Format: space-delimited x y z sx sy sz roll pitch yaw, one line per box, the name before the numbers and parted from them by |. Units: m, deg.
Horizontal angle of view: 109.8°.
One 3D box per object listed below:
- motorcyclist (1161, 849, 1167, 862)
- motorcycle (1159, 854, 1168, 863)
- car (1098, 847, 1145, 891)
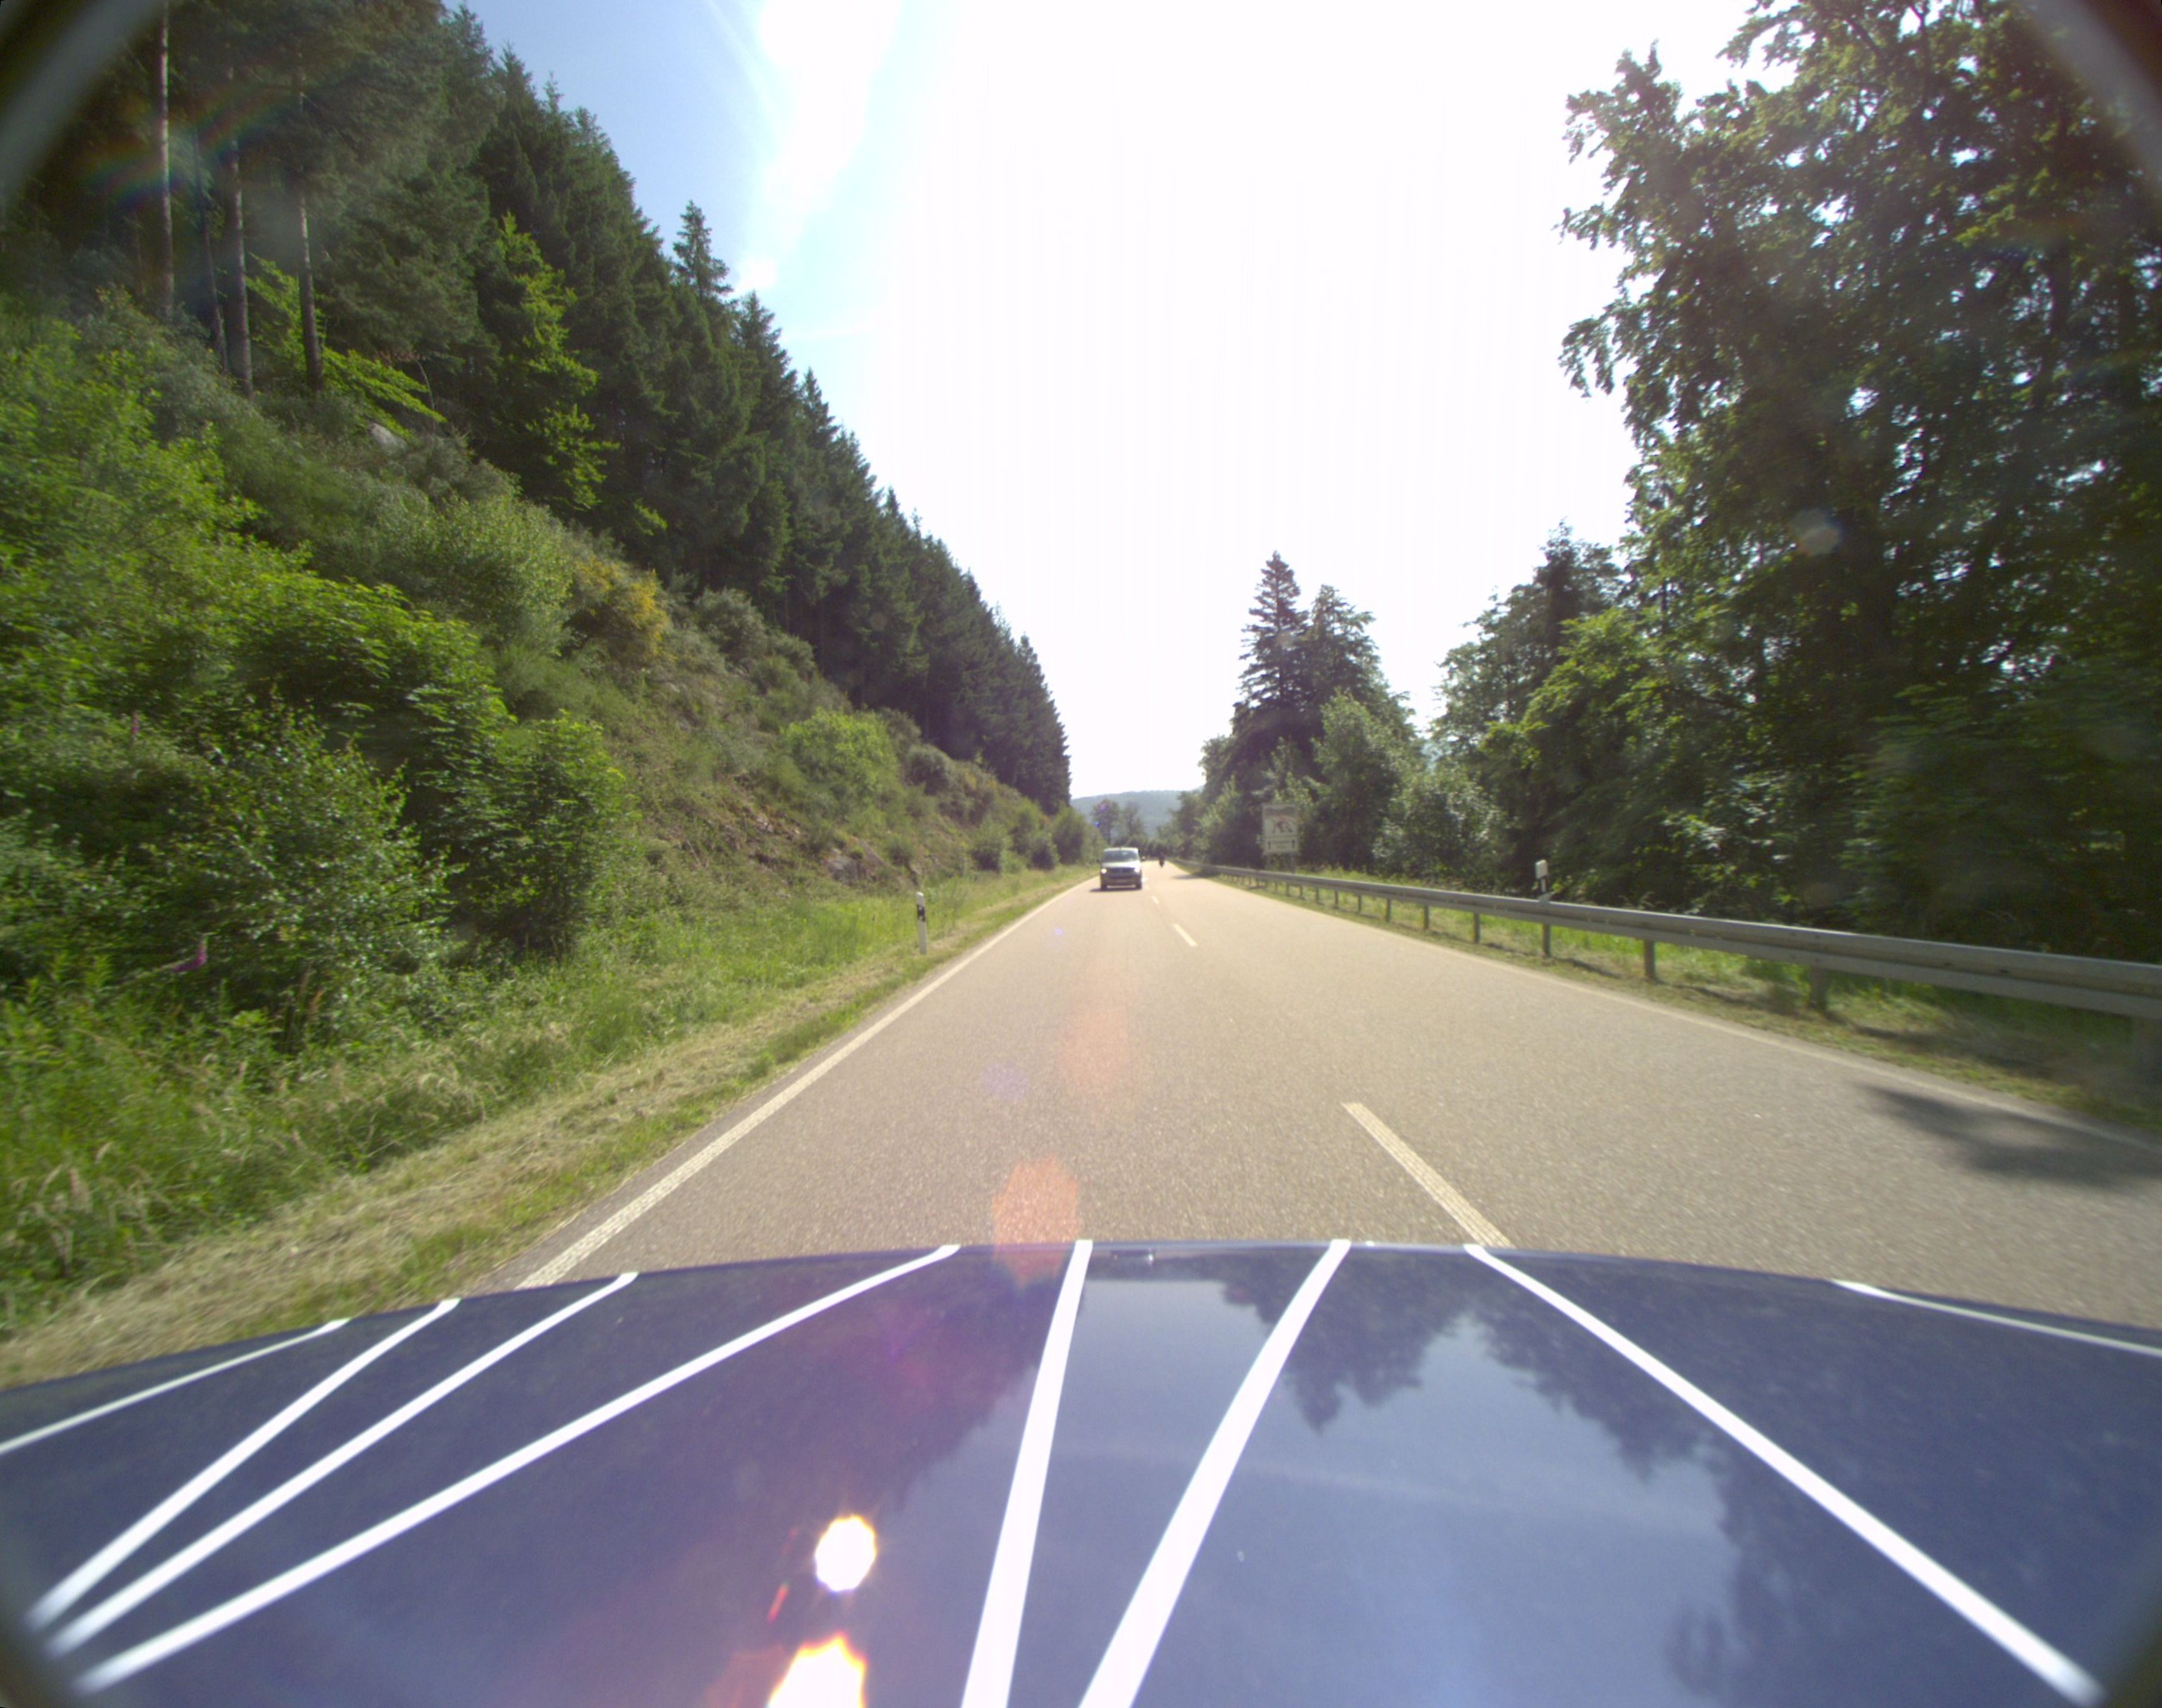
motorcyclist | 9.998 0.150 91.872 0.659 1.504 0.934 -2 0 8
motorcycle | 9.998 0.560 91.906 0.986 1.065 1.964 -2 0 8
car | 1.949 0.662 35.744 1.990 1.899 4.761 -2 0 4
